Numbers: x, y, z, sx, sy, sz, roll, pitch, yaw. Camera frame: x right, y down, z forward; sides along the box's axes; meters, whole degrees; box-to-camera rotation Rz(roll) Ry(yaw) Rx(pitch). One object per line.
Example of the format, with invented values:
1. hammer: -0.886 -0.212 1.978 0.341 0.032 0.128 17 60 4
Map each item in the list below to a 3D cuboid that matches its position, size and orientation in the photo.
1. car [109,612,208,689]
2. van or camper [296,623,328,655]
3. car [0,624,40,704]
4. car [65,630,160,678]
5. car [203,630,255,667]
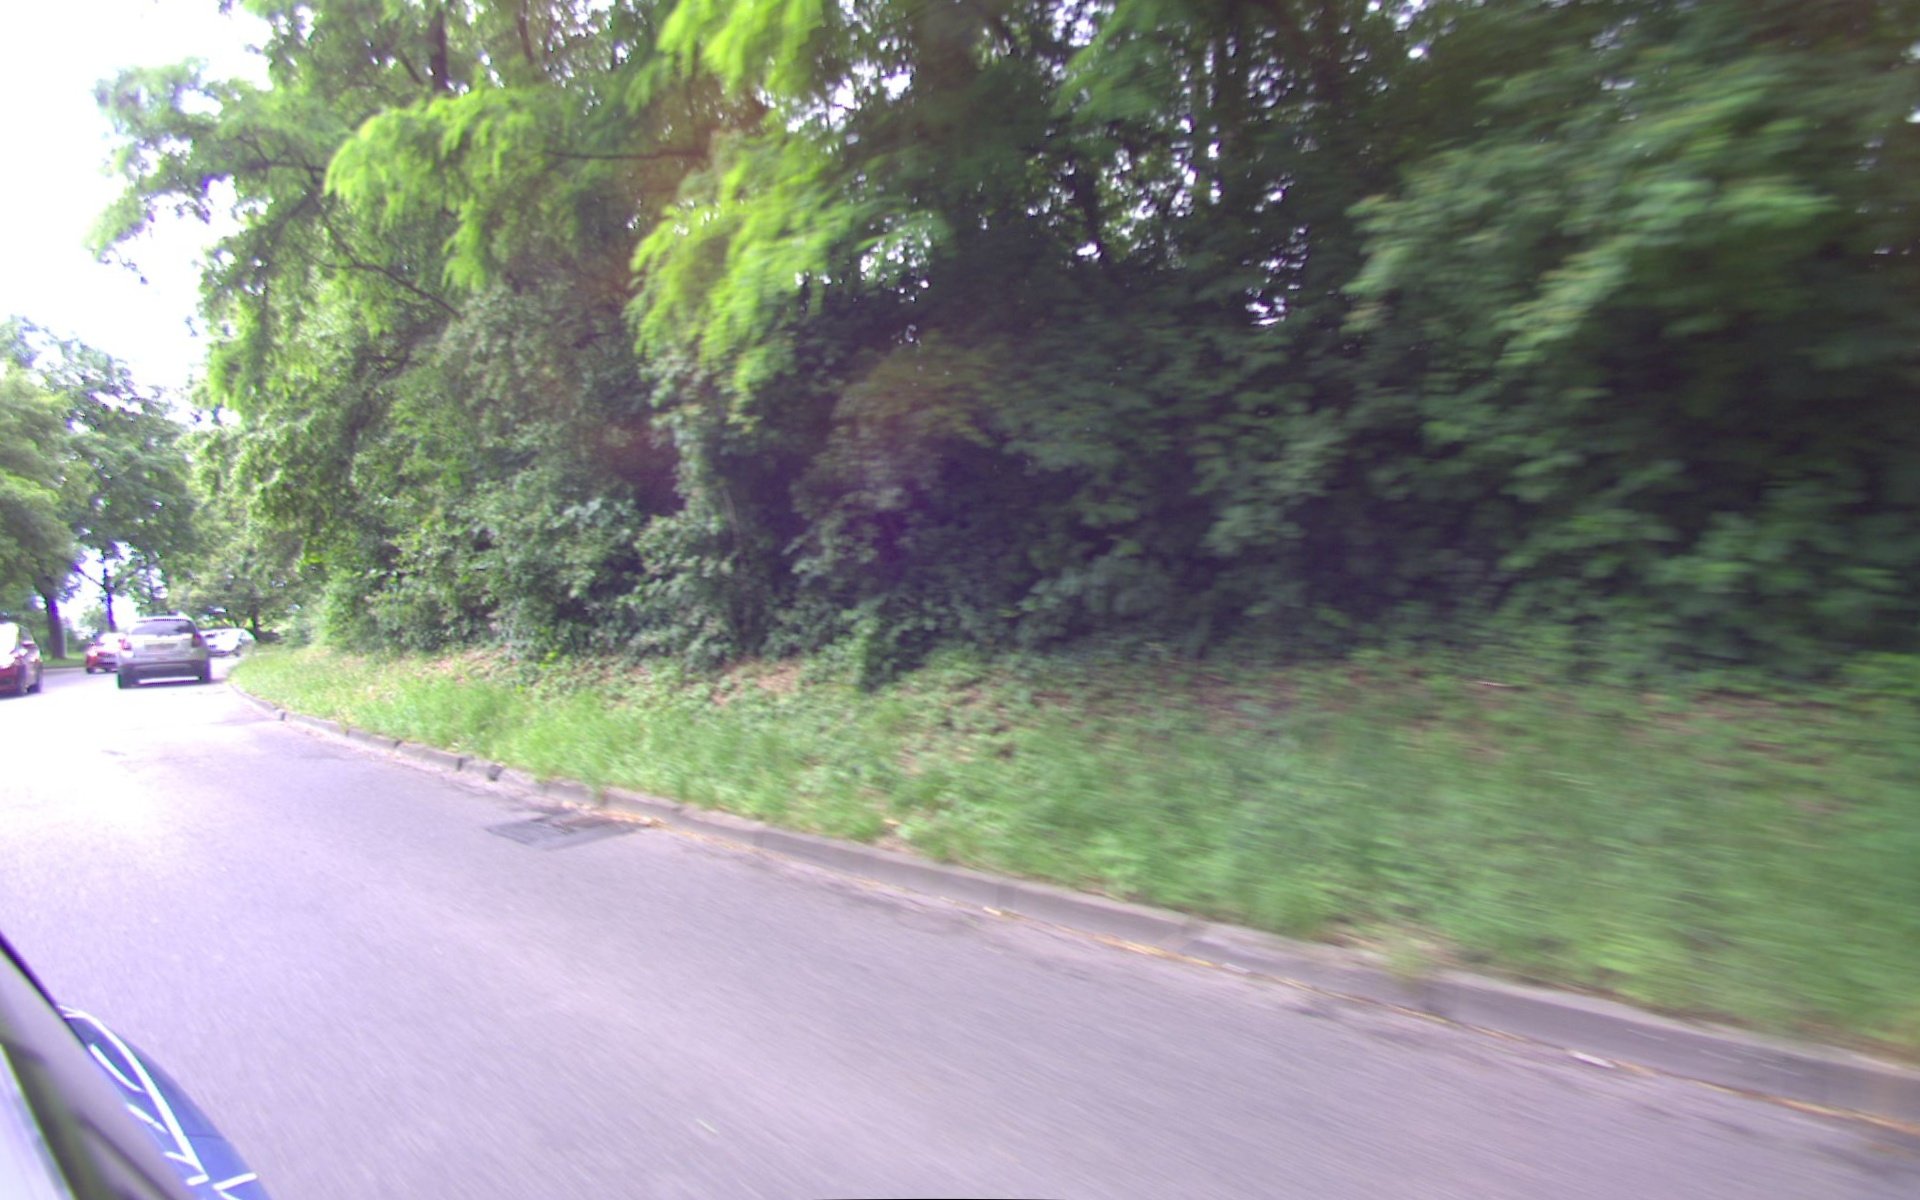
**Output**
1. car: -20.523 1.216 25.854 1.798 1.741 4.319 -2 0 -40
2. van or camper: -52.462 3.106 82.000 1.966 2.361 5.044 -2 0 -30
3. car: -21.850 1.388 22.312 1.973 1.621 4.686 -2 0 -38
4. car: -31.425 1.955 37.669 1.926 1.483 4.691 -2 0 -30
5. car: -41.492 2.713 57.516 1.926 1.853 4.691 -2 0 -30
